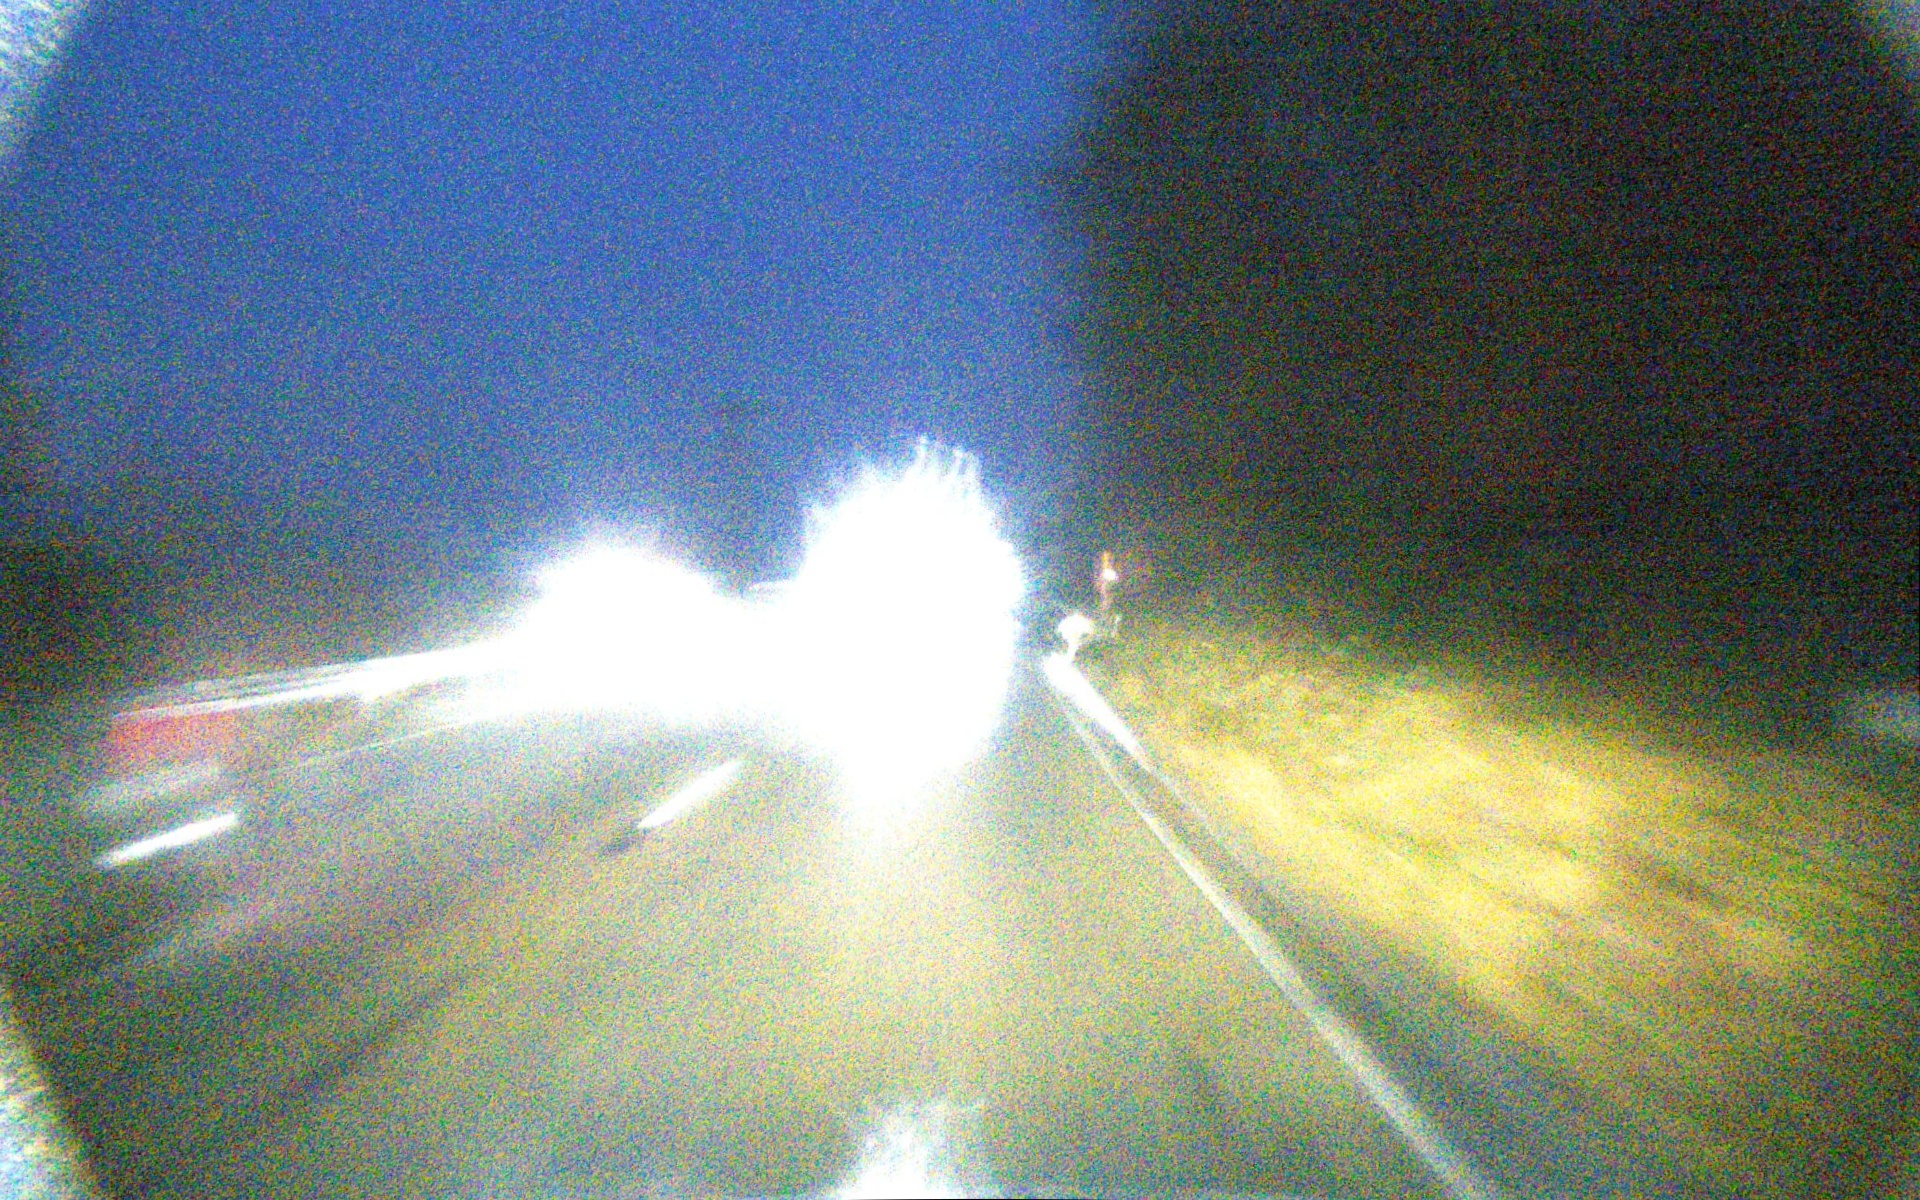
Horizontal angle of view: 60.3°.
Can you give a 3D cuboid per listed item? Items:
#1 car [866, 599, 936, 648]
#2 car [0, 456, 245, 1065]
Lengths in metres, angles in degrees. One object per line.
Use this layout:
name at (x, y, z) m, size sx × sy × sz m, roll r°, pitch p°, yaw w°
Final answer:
car at (-1.801, 0.700, 51.436) m, size 1.952 × 1.436 × 4.000 m, roll 1°, pitch 0°, yaw 1°
car at (-3.808, 0.482, 4.784) m, size 1.743 × 1.876 × 4.159 m, roll 1°, pitch 0°, yaw -2°
